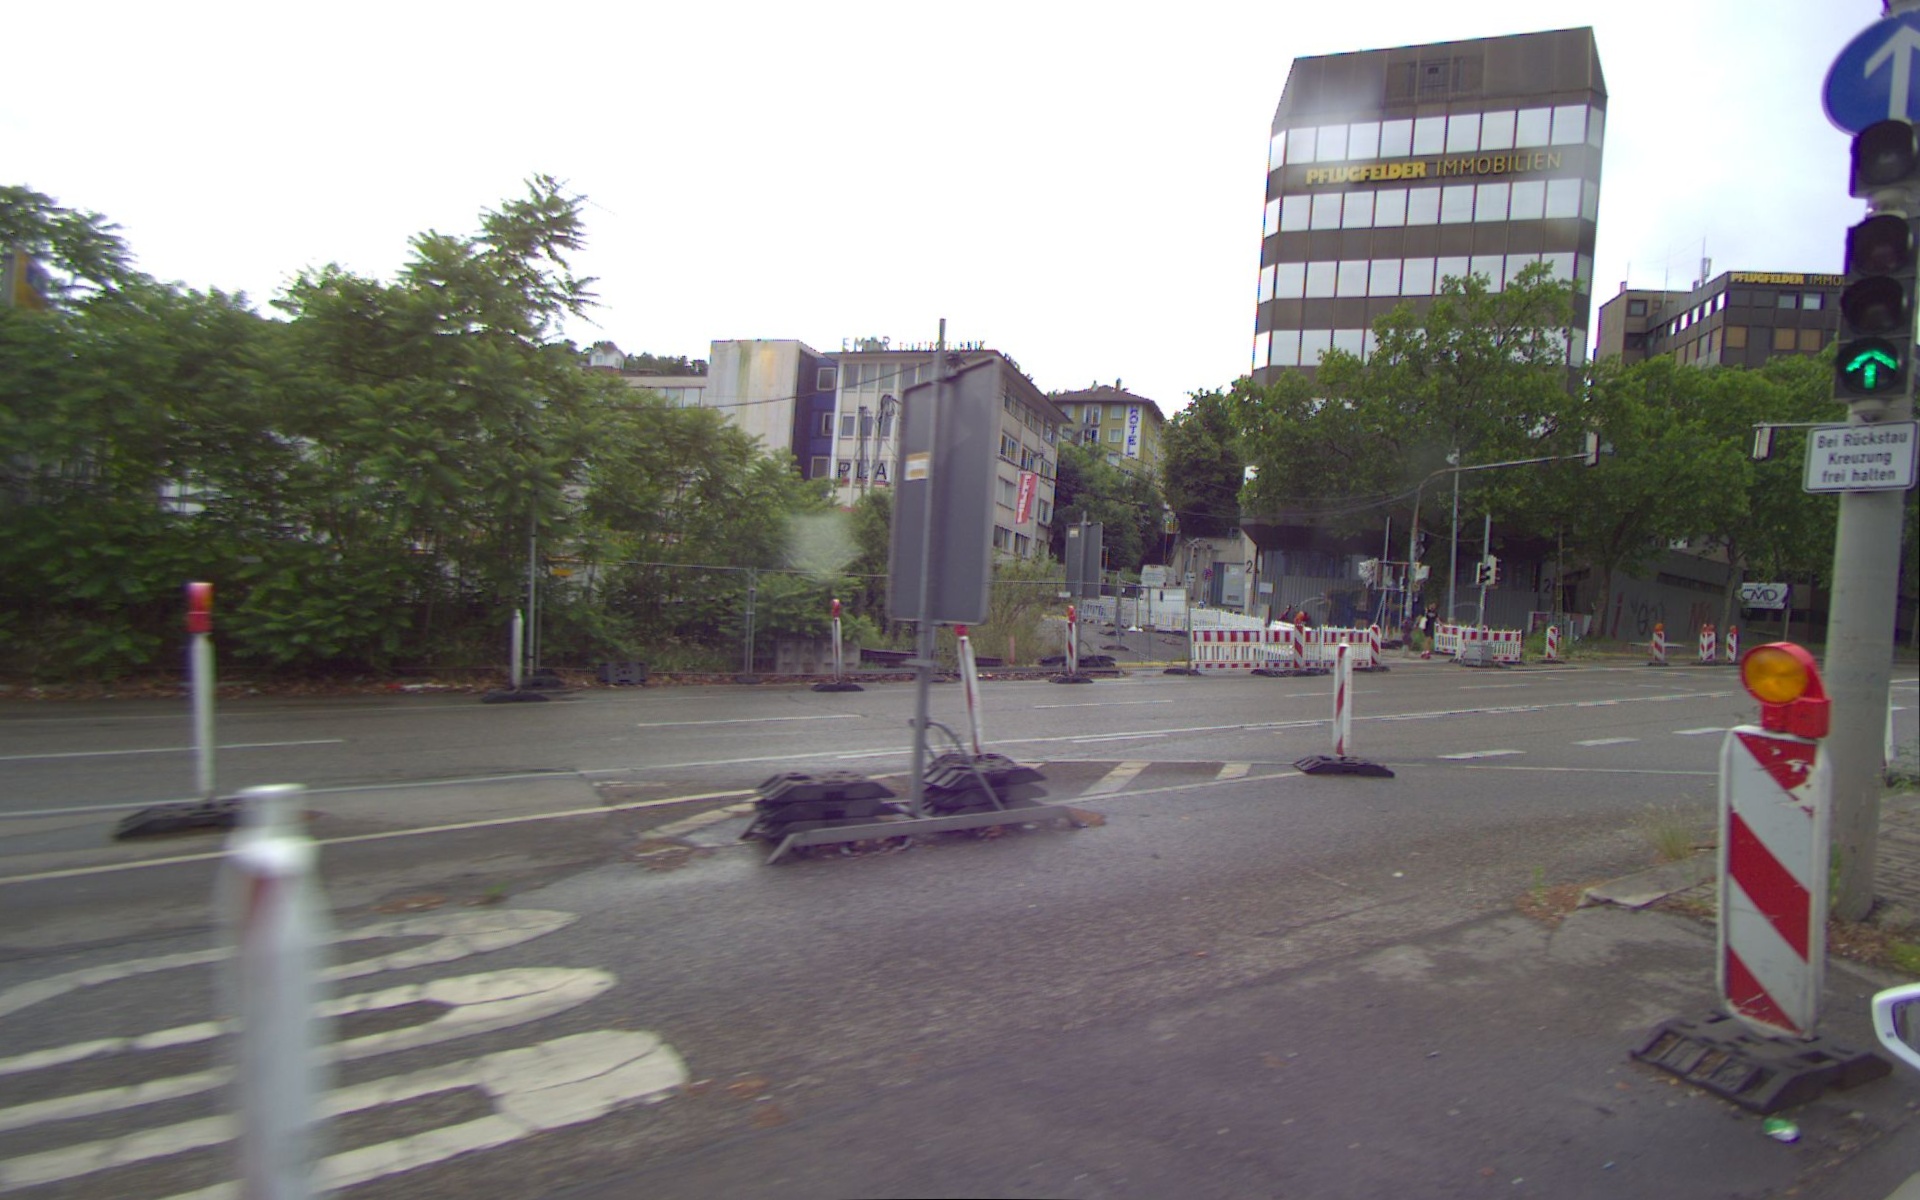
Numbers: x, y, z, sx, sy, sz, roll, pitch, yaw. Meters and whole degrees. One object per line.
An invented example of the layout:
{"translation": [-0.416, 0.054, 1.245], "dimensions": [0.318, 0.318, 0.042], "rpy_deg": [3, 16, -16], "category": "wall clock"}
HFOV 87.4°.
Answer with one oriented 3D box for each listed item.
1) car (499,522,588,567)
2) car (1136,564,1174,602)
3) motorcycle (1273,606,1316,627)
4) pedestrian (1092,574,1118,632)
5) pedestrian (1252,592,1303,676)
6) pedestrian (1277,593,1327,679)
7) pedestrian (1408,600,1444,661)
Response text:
{"translation": [-22.067, -2.933, 53.244], "dimensions": [3.921, 2.040, 2.000], "rpy_deg": [4, 0, 20], "category": "car"}
{"translation": [14.556, -1.205, 74.837], "dimensions": [2.184, 2.474, 5.508], "rpy_deg": [4, -1, 16], "category": "car"}
{"translation": [17.989, 0.874, 54.028], "dimensions": [2.141, 1.051, 0.565], "rpy_deg": [3, 1, 23], "category": "motorcycle"}
{"translation": [5.627, 0.116, 38.936], "dimensions": [0.728, 2.168, 0.747], "rpy_deg": [4, 0, 21], "category": "pedestrian"}
{"translation": [7.638, 0.809, 24.158], "dimensions": [0.734, 1.947, 0.757], "rpy_deg": [4, 0, -30], "category": "pedestrian"}
{"translation": [8.002, 0.842, 23.517], "dimensions": [0.767, 1.926, 0.669], "rpy_deg": [4, 0, -30], "category": "pedestrian"}
{"translation": [15.178, 0.987, 32.711], "dimensions": [0.742, 1.905, 0.733], "rpy_deg": [4, 0, -42], "category": "pedestrian"}
